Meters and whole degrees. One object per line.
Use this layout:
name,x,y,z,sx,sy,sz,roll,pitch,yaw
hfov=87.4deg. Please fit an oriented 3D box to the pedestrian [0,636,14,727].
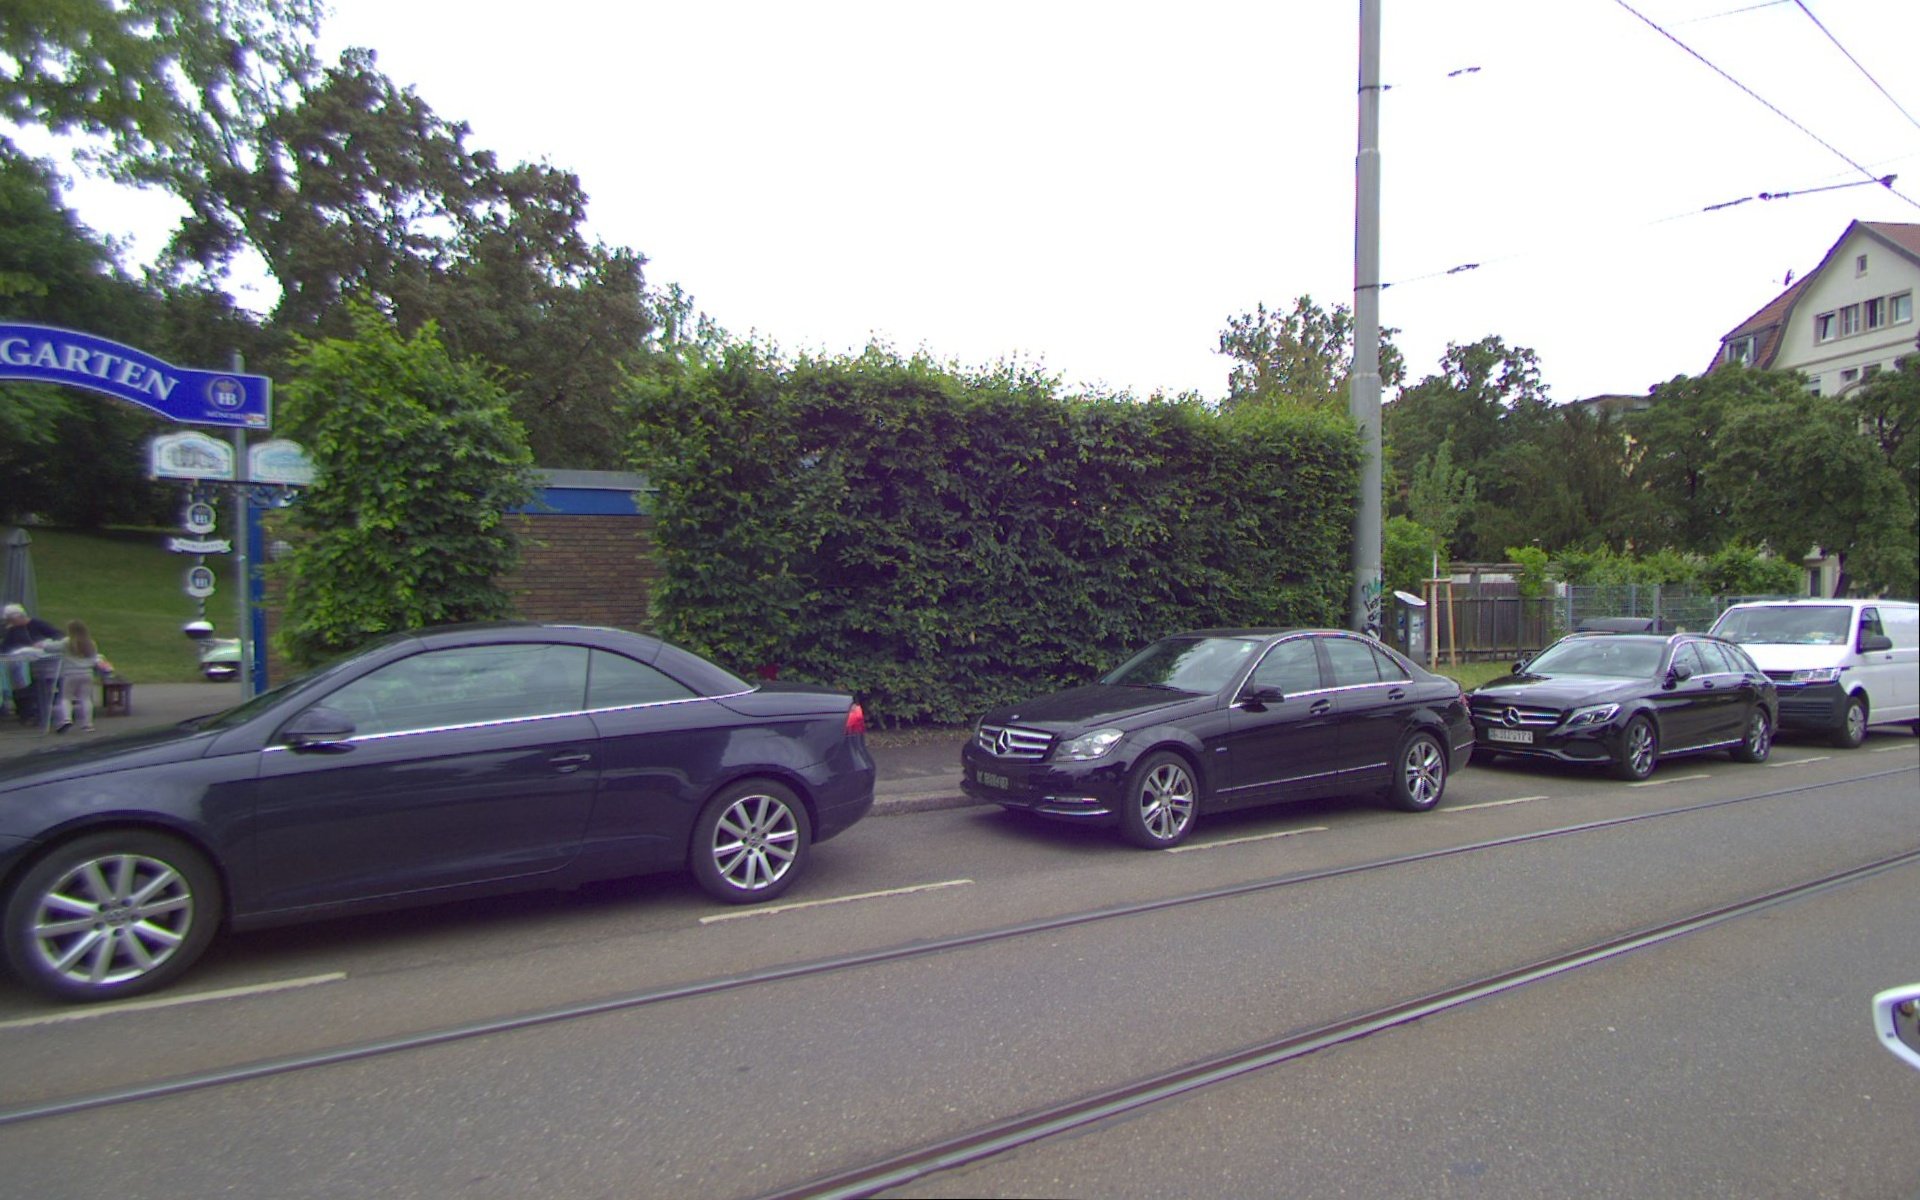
pedestrian,-11.776,0.969,11.938,0.652,1.078,0.483,2,0,14

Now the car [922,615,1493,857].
car,2.067,0.901,7.915,4.392,1.405,1.830,2,-1,-32

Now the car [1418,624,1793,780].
car,7.328,1.046,11.280,4.469,1.405,1.830,2,-1,-32

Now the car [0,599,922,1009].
car,-2.428,0.786,5.179,4.116,1.423,1.780,2,-1,-32

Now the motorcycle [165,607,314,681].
motorcycle,-13.620,0.823,19.035,2.244,1.322,0.616,2,0,-40

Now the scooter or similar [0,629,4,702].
scooter or similar,-14.185,0.913,13.812,1.404,1.032,0.488,2,0,-31

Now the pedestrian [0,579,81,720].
pedestrian,-11.519,0.592,12.477,0.652,1.686,0.622,2,0,14

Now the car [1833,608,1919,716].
car,17.195,1.085,17.350,4.582,1.709,1.958,2,-1,-32

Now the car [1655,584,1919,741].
car,12.199,0.850,14.436,4.683,1.938,1.958,2,-1,-32

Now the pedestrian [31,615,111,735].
pedestrian,-10.522,0.868,11.894,0.509,1.360,0.483,2,0,14
